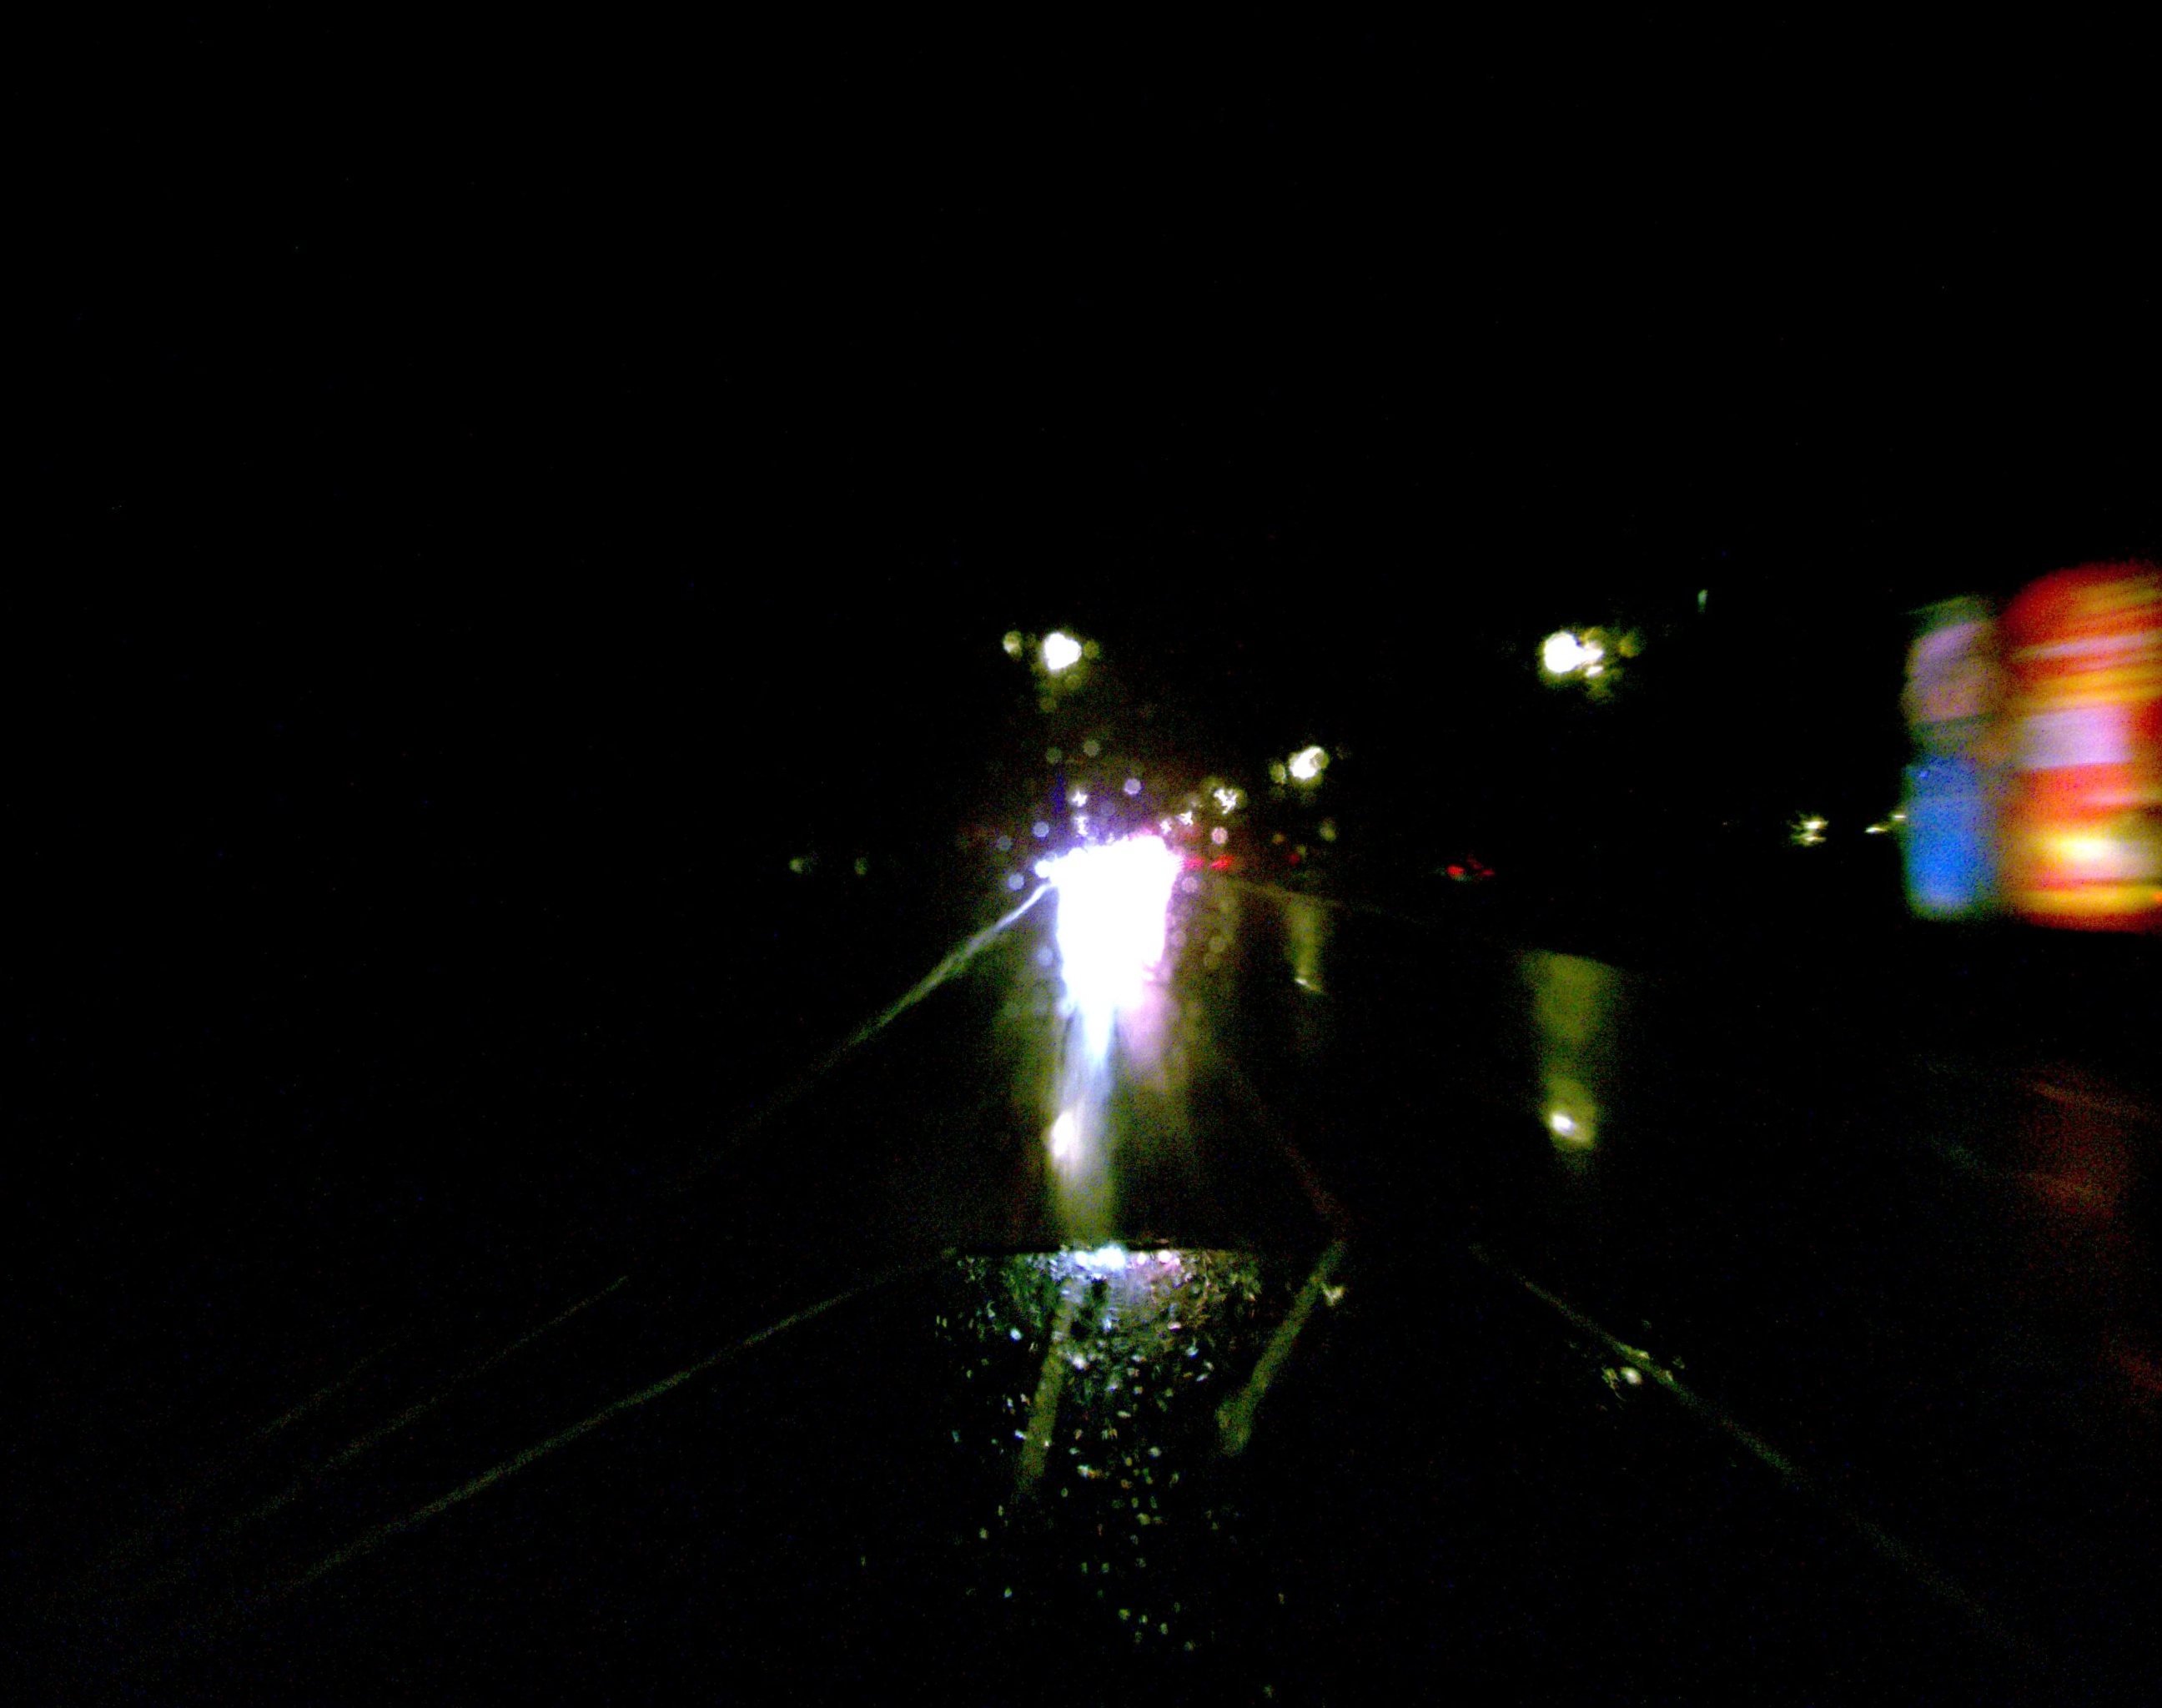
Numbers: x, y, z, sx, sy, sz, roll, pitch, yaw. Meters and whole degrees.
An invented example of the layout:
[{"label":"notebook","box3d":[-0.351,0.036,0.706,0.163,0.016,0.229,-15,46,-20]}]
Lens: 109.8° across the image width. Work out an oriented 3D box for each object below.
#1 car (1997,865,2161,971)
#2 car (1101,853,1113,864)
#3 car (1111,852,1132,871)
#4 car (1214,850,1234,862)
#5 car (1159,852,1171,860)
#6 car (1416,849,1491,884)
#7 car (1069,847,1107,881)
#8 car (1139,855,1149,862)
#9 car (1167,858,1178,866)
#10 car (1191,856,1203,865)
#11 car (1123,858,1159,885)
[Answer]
[{"label":"car","box3d":[16.361,0.933,10.796,1.834,1.456,3.999,-1,0,-2]},{"label":"car","box3d":[4.132,0.716,122.457,1.833,1.696,3.948,-1,0,1]},{"label":"car","box3d":[3.786,0.721,71.697,1.833,1.696,4.194,-1,0,1]},{"label":"car","box3d":[21.004,0.344,111.502,2.029,1.674,4.548,-1,0,0]},{"label":"car","box3d":[15.849,0.304,143.255,1.847,1.478,4.366,-1,0,2]},{"label":"car","box3d":[19.673,0.640,40.343,1.833,1.703,4.441,-1,0,1]},{"label":"car","box3d":[0.395,0.521,41.580,1.950,1.709,4.442,-1,0,1]},{"label":"car","box3d":[15.218,1.174,183.899,1.848,1.583,5.325,-1,0,-3]},{"label":"car","box3d":[18.941,1.670,157.861,1.847,1.583,4.366,-1,0,2]},{"label":"car","box3d":[21.397,1.127,140.272,1.847,1.583,4.366,-1,0,2]},{"label":"car","box3d":[3.544,1.009,45.743,1.833,1.518,4.874,-1,0,1]}]
